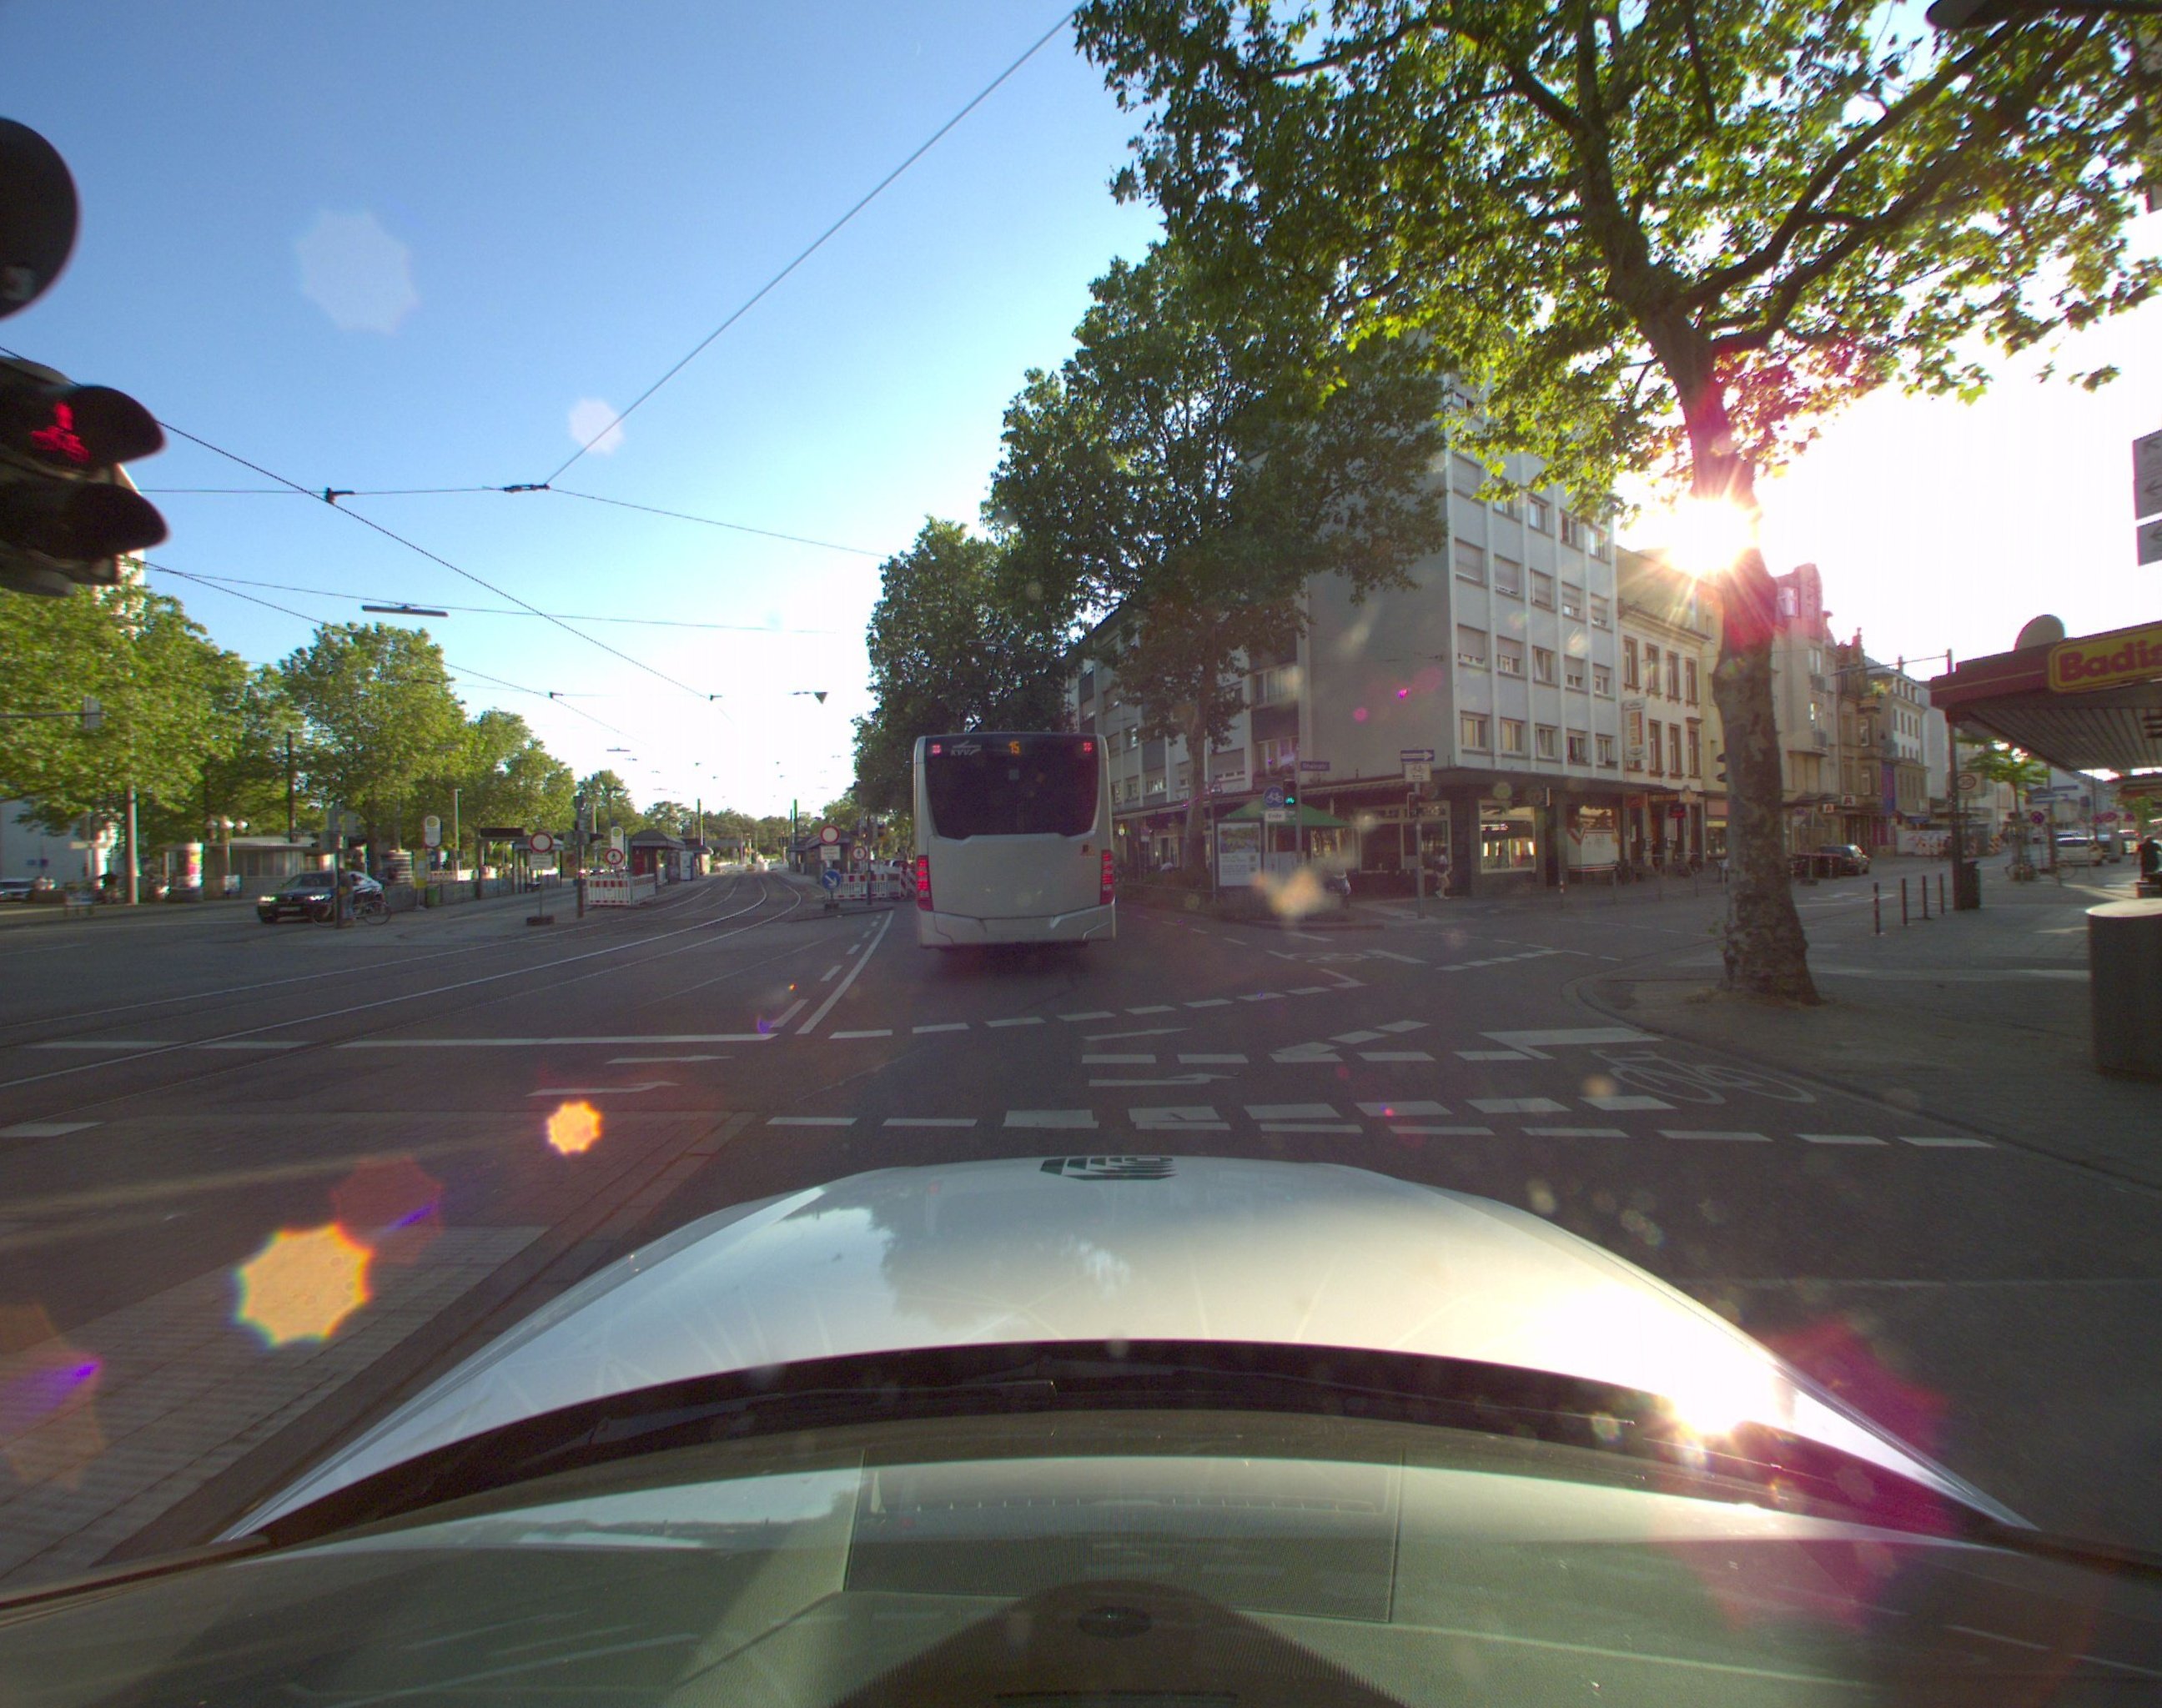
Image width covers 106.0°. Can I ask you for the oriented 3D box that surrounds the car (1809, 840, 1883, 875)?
[{"bbox_3d":[36.583,0.126,38.921,4.017,1.495,1.822,-2,2,-36],"label":"car"}]

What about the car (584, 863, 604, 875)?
[{"bbox_3d":[-66.624,2.086,111.499,1.895,1.531,4.173,-1,0,-24],"label":"car"}]

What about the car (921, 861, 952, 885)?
[{"bbox_3d":[-9.500,1.232,53.510,1.758,1.464,3.982,-1,0,-13],"label":"car"}]

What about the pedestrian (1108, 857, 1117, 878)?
[{"bbox_3d":[1.827,0.783,46.760,0.392,1.174,0.386,-1,0,-20],"label":"pedestrian"}]

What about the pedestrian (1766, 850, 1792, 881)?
[{"bbox_3d":[27.922,0.451,32.597,0.601,1.243,0.686,0,0,-39],"label":"pedestrian"}]

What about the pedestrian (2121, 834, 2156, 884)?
[{"bbox_3d":[33.954,0.166,26.147,0.697,1.575,0.659,0,0,-36],"label":"pedestrian"}]

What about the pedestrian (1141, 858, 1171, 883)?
[{"bbox_3d":[3.659,0.813,39.928,1.181,1.197,0.920,-1,0,-18],"label":"pedestrian"}]

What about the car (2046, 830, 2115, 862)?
[{"bbox_3d":[53.124,-0.410,43.279,4.014,1.662,1.824,0,0,-32],"label":"car"}]

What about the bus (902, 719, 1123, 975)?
[{"bbox_3d":[-1.391,-0.061,15.094,2.655,3.099,10.192,-1,0,-7],"label":"bus"}]

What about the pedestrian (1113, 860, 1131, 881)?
[{"bbox_3d":[2.214,0.876,44.068,0.707,1.108,0.762,-1,0,-17],"label":"pedestrian"}]

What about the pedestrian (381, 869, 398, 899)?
[{"bbox_3d":[-46.539,2.023,54.820,0.712,2.013,0.736,-1,0,-29],"label":"pedestrian"}]

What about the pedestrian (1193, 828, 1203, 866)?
[{"bbox_3d":[5.305,-0.306,37.063,0.357,1.718,0.308,0,0,-10],"label":"pedestrian"}]

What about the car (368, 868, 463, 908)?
[{"bbox_3d":[-28.768,1.421,35.374,1.892,1.531,4.178,-1,0,-20],"label":"car"}]

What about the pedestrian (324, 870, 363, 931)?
[{"bbox_3d":[-21.551,1.337,23.795,0.723,1.725,0.396,-1,0,-24],"label":"pedestrian"}]

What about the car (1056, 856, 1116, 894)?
[{"bbox_3d":[0.173,0.899,36.889,1.667,1.516,3.391,-4,1,-18],"label":"car"}]

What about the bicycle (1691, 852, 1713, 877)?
[{"bbox_3d":[28.448,0.484,37.281,1.726,1.040,0.291,-4,-1,-37],"label":"bicycle"}]

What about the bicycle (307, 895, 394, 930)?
[{"bbox_3d":[-21.692,1.727,24.205,1.848,0.942,0.460,-1,0,-24],"label":"bicycle"}]

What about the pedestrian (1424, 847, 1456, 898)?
[{"bbox_3d":[11.118,0.562,25.231,0.606,1.548,0.709,0,0,-35],"label":"pedestrian"}]

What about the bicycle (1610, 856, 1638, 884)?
[{"bbox_3d":[21.281,0.634,31.919,1.726,1.041,0.291,-1,-3,-37],"label":"bicycle"}]

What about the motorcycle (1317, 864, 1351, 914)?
[{"bbox_3d":[6.165,0.839,19.897,0.567,1.158,1.464,0,-1,7],"label":"motorcycle"}]

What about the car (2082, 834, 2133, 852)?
[{"bbox_3d":[72.255,-0.740,57.330,4.014,1.224,1.824,0,0,-32],"label":"car"}]

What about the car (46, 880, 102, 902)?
[{"bbox_3d":[-80.007,2.916,64.765,2.010,1.565,3.954,0,0,-40],"label":"car"}]

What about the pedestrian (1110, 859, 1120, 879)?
[{"bbox_3d":[1.928,0.858,46.312,0.388,1.122,0.390,-1,0,-18],"label":"pedestrian"}]

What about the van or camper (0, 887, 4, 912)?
[{"bbox_3d":[-69.643,2.912,49.976,1.805,1.552,4.025,-1,0,28],"label":"van or camper"}]

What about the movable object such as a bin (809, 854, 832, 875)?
[{"bbox_3d":[-31.534,1.252,98.384,2.502,2.477,5.320,-1,0,-19],"label":"movable object such as a bin"}]

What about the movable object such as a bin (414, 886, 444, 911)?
[{"bbox_3d":[-24.045,1.644,30.046,0.673,0.866,0.698,0,0,-20],"label":"movable object such as a bin"}]

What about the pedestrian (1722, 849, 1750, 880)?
[{"bbox_3d":[27.131,0.432,33.737,0.549,1.243,0.732,0,0,-1],"label":"pedestrian"}]

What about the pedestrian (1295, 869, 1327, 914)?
[{"bbox_3d":[6.519,1.059,23.107,0.551,1.243,0.728,0,0,-16],"label":"pedestrian"}]

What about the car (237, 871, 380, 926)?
[{"bbox_3d":[-25.320,1.389,26.910,1.892,1.585,4.178,-1,0,-20],"label":"car"}]

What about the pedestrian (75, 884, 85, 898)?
[{"bbox_3d":[-78.804,2.912,64.104,0.395,1.071,0.384,-1,0,-42],"label":"pedestrian"}]

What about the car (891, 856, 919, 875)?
[{"bbox_3d":[-14.102,0.921,65.047,1.761,1.464,3.975,-1,0,-19],"label":"car"}]
